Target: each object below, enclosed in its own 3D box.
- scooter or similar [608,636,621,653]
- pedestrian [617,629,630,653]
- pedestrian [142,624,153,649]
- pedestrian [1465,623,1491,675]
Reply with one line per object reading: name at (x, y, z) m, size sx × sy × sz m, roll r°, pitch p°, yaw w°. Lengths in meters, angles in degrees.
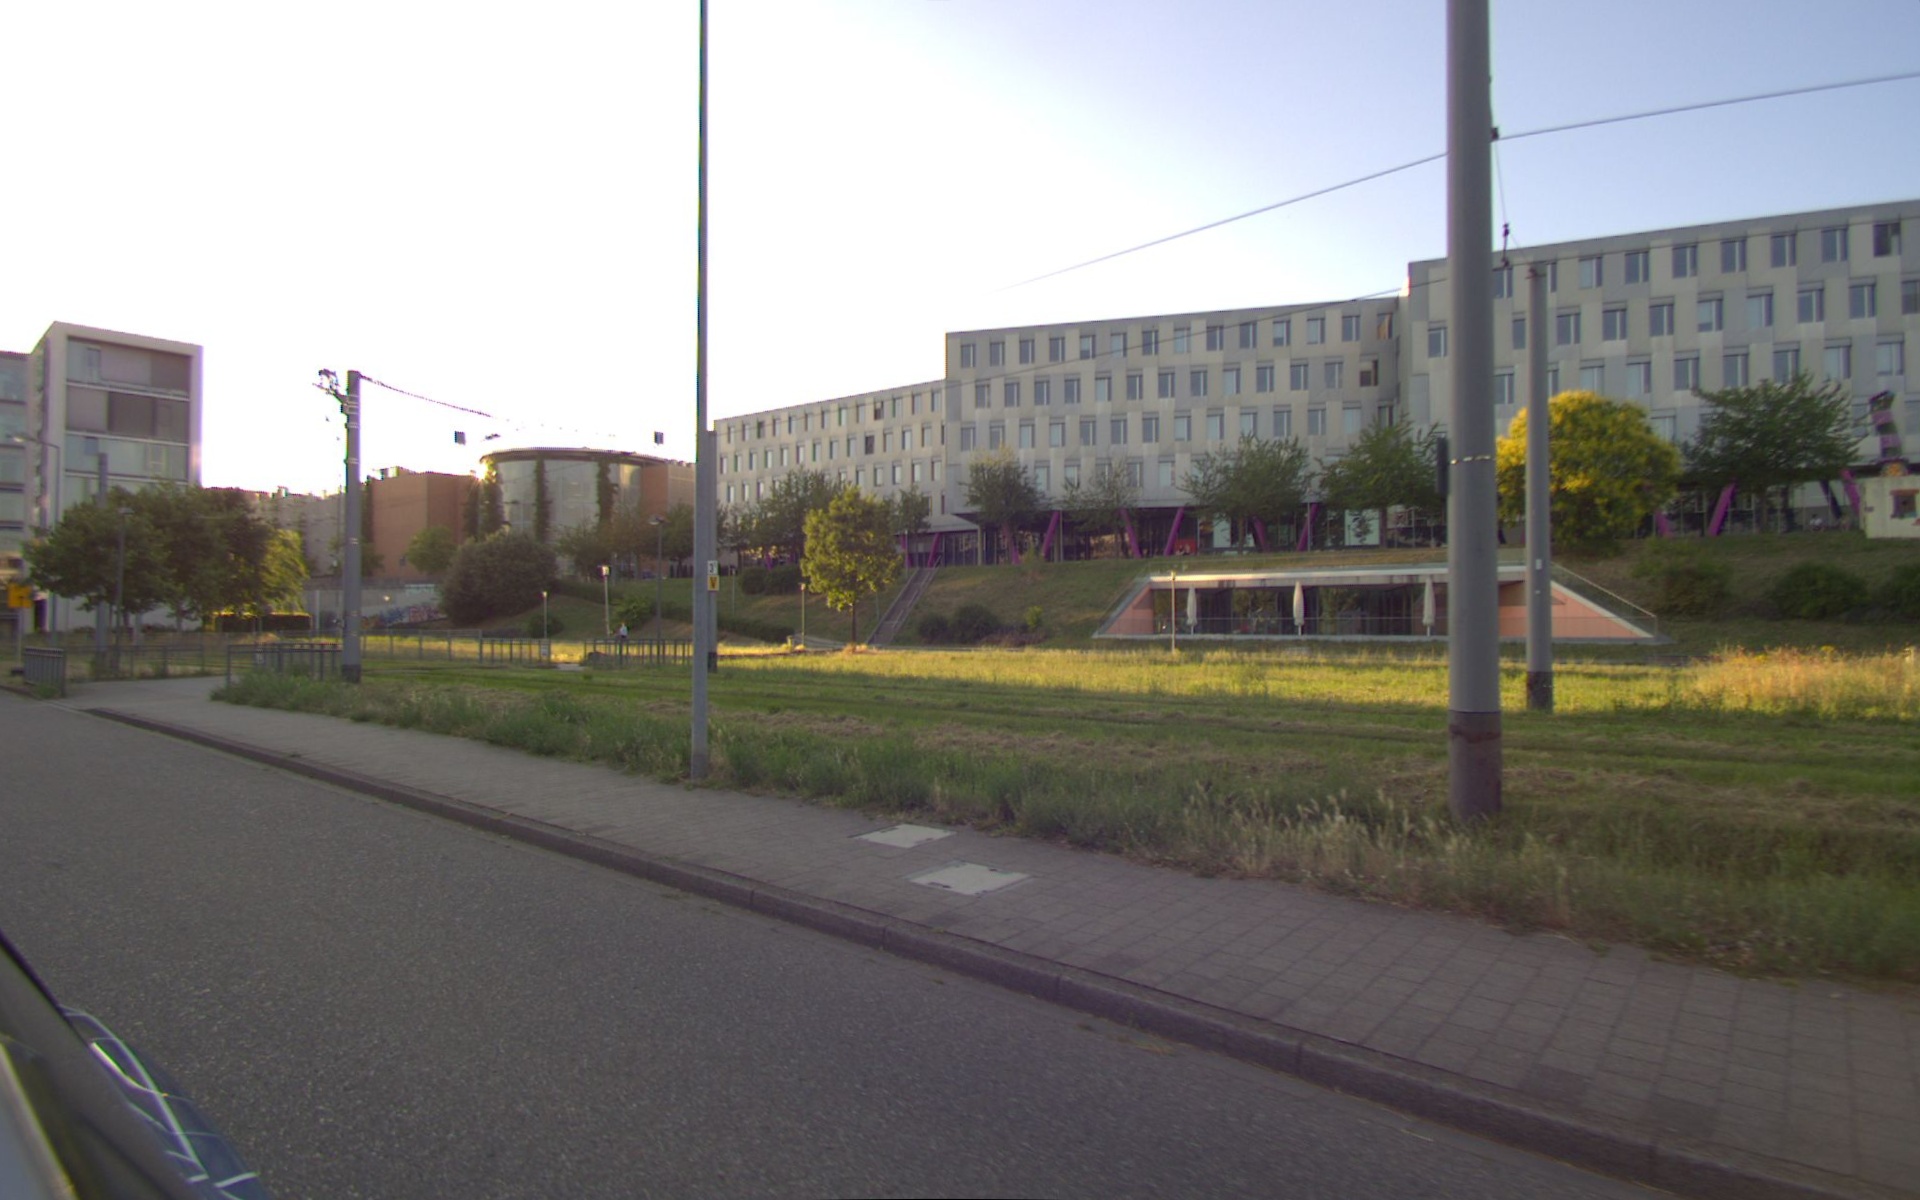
scooter or similar at (-26.904, 3.455, 78.803) m, size 0.790 × 1.253 × 0.610 m, roll -2°, pitch 0°, yaw 40°
pedestrian at (-26.070, 3.170, 78.423) m, size 0.790 × 1.850 × 0.610 m, roll -2°, pitch 0°, yaw 40°
pedestrian at (-62.456, 2.812, 77.768) m, size 0.480 × 1.850 × 0.446 m, roll -2°, pitch 0°, yaw 20°
pedestrian at (21.285, 1.989, 41.564) m, size 0.790 × 2.098 × 0.610 m, roll -2°, pitch 0°, yaw 40°
